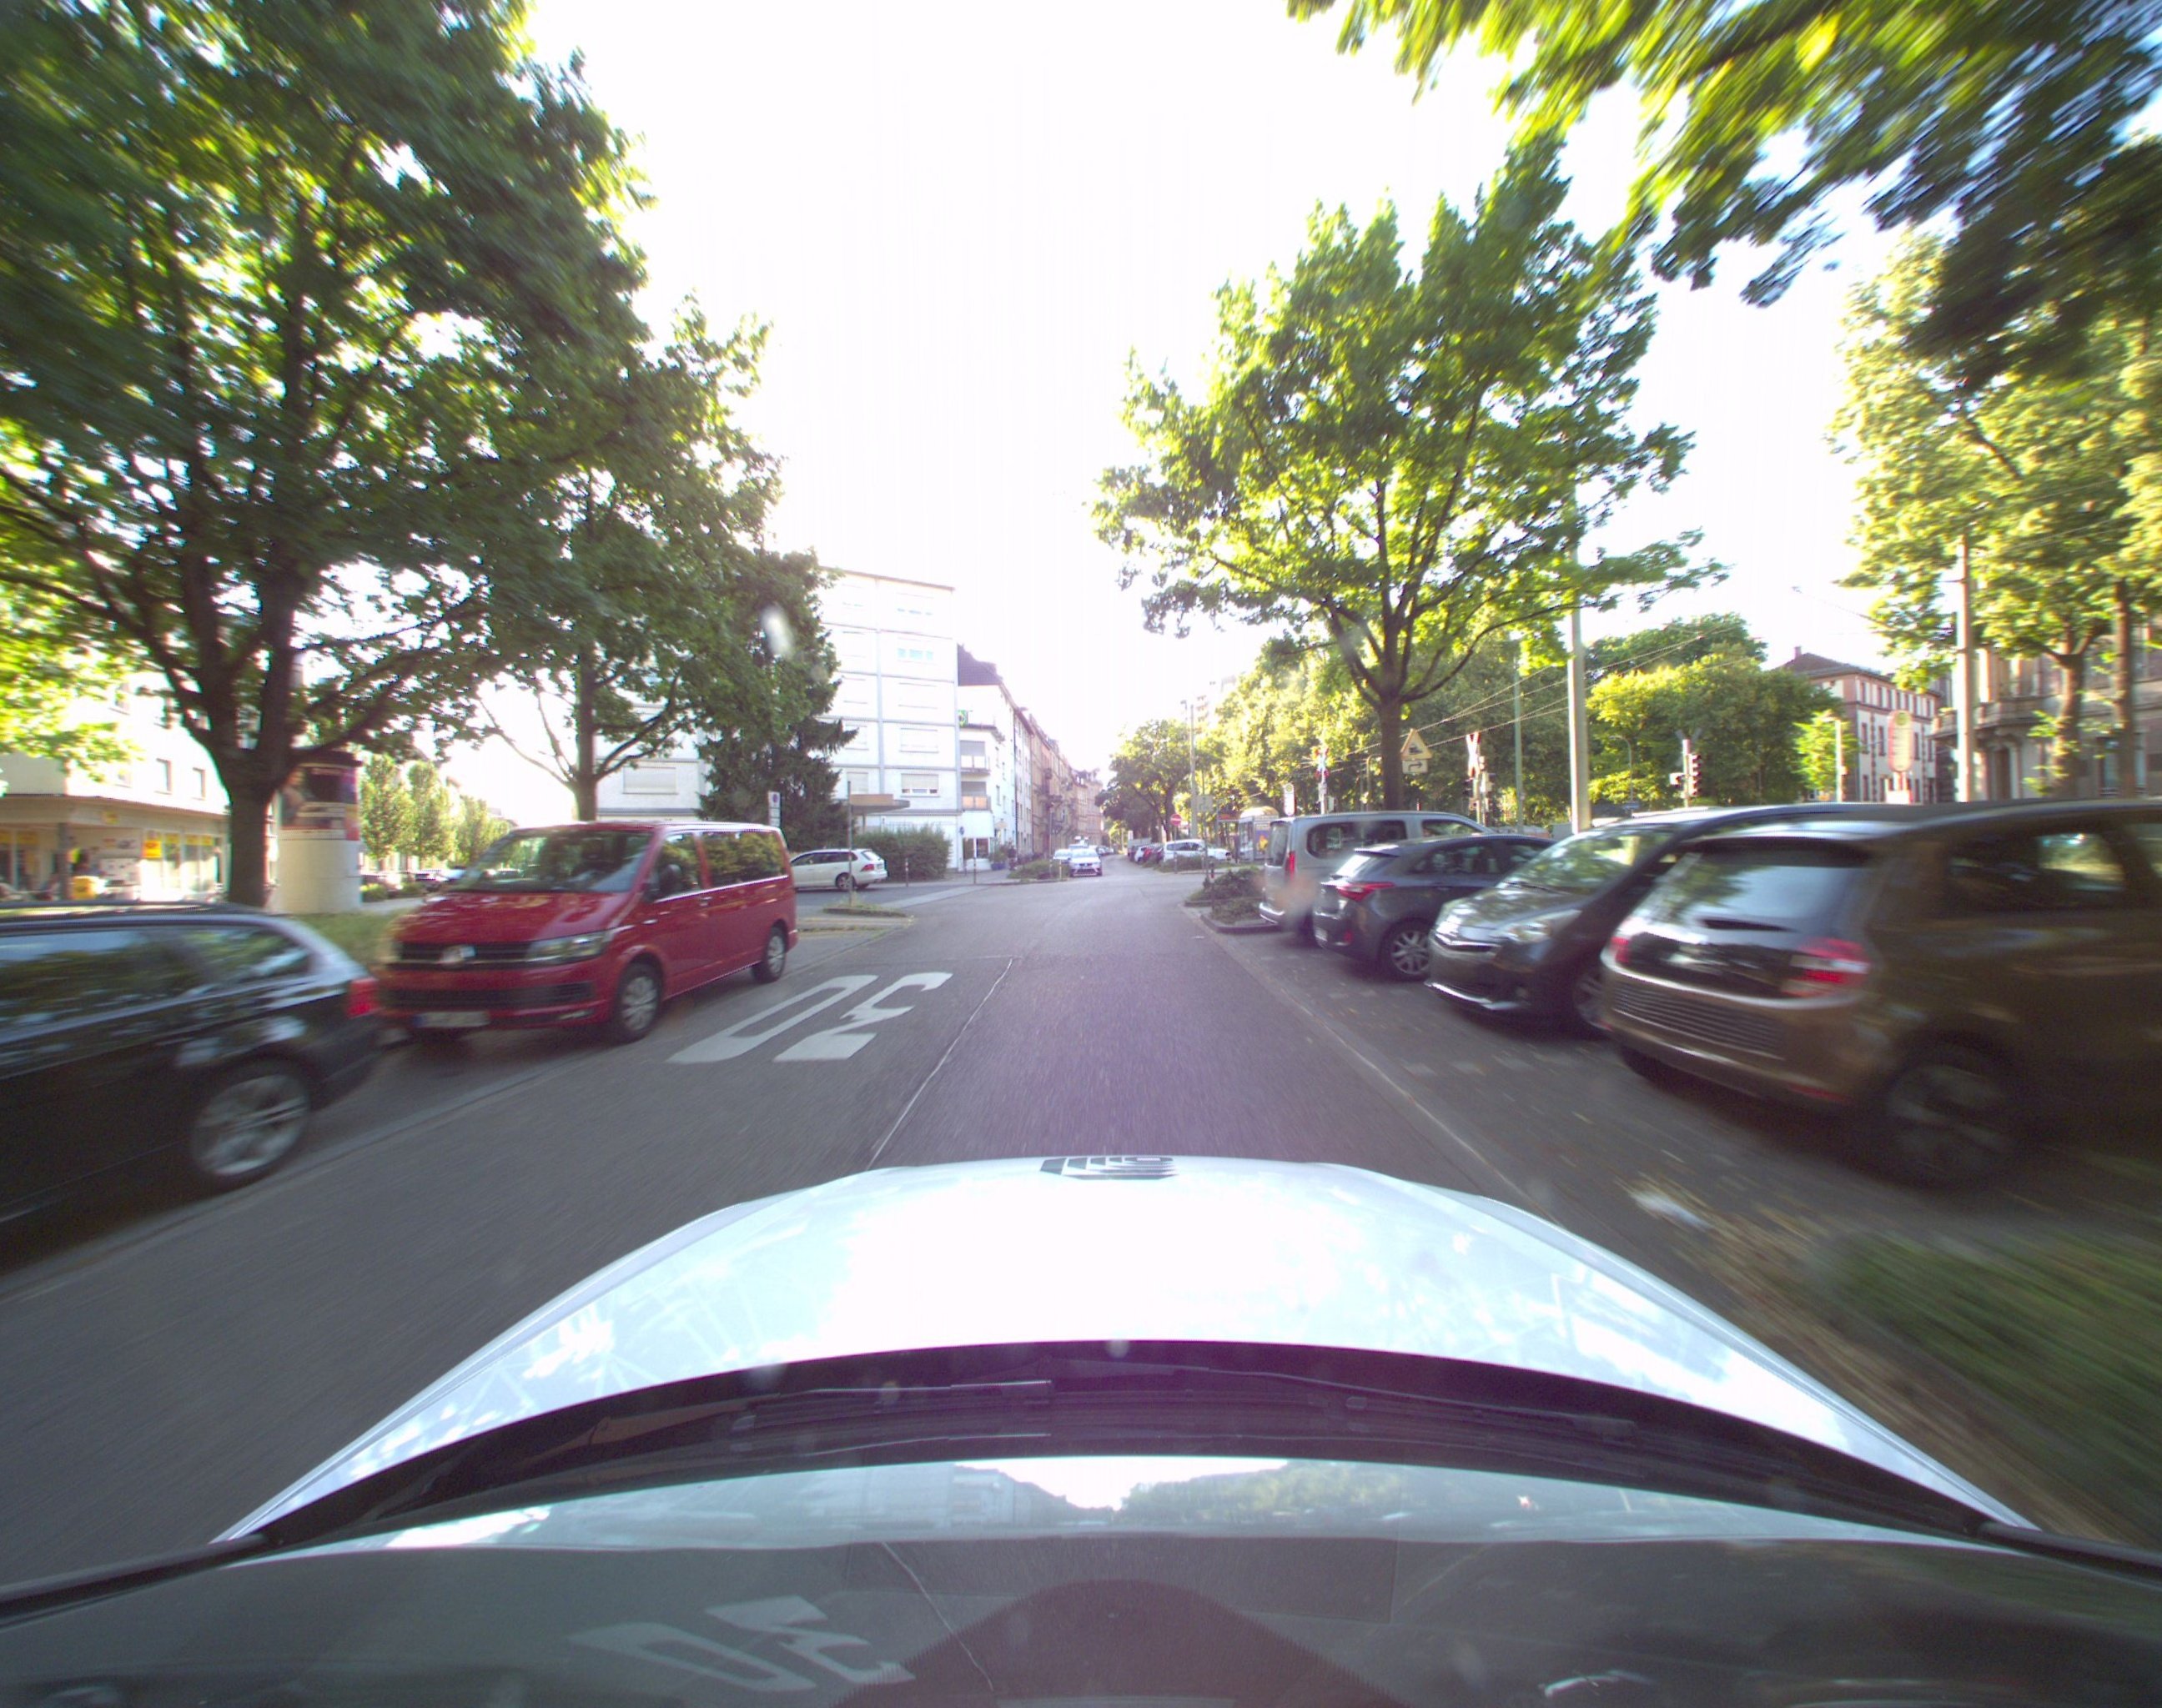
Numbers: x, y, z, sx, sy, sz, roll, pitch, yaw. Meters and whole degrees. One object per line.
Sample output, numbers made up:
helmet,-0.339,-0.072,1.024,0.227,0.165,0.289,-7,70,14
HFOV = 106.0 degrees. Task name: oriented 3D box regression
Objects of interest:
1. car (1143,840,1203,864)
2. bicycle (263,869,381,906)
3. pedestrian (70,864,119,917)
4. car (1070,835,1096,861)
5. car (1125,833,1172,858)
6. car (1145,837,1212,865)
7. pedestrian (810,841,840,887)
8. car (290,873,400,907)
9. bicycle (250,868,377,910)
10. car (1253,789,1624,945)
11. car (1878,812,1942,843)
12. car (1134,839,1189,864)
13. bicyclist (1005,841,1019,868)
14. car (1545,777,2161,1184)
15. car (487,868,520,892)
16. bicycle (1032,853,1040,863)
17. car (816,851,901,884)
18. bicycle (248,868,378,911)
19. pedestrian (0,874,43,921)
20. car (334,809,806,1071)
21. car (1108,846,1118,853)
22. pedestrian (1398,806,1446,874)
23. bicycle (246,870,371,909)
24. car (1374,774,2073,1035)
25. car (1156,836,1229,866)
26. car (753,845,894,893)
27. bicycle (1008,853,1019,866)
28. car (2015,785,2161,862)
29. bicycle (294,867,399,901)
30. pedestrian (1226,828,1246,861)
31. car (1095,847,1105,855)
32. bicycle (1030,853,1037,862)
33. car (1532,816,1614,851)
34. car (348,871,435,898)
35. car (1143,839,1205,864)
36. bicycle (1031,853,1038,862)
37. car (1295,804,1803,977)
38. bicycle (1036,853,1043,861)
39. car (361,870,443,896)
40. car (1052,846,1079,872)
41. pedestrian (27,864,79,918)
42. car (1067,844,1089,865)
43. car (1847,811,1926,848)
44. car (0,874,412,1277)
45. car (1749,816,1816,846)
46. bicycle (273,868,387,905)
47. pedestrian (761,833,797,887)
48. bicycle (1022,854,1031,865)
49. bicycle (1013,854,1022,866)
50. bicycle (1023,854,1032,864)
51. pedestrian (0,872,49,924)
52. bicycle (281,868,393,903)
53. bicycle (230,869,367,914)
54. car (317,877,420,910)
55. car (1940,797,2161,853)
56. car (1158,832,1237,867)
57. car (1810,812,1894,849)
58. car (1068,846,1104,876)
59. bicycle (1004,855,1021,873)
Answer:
car,7.118,-0.156,63.307,4.188,1.458,1.617,-6,0,26
bicycle,-30.927,1.341,33.276,3.390,1.445,0.873,0,-1,-30
pedestrian,-36.188,1.313,29.891,0.855,1.875,0.882,-2,0,-32
car,0.328,-0.711,98.272,2.540,2.887,5.489,-3,1,5
car,8.676,-1.076,104.668,5.201,2.571,2.288,-6,0,30
car,6.859,-0.240,57.303,4.188,1.507,1.617,-6,0,26
pedestrian,-9.860,0.371,31.394,0.825,1.736,0.871,-1,0,1
car,-39.244,1.877,43.562,4.012,1.558,1.729,-2,0,-29
bicycle,-29.137,1.298,31.024,3.390,1.445,0.873,-1,0,-30
car,4.951,0.191,11.858,4.518,1.914,1.952,-2,-1,4
car,44.818,-1.463,44.010,3.972,1.613,1.784,-3,3,-35
car,6.785,-0.202,68.754,4.186,1.651,1.870,-6,0,38
bicyclist,-4.216,0.049,50.042,0.709,1.617,0.724,-2,0,2
car,5.187,0.457,4.112,4.518,1.572,1.952,-2,-1,4
car,-46.485,2.048,65.604,2.008,1.784,3.958,-3,1,-33
bicycle,-4.864,0.419,87.606,0.624,1.003,2.176,-2,1,1
car,-11.849,0.692,43.401,4.011,1.532,1.981,-2,0,-29
bicycle,-28.398,1.290,30.212,3.390,1.445,0.873,-1,0,-30
pedestrian,-36.694,1.498,28.008,0.894,1.569,0.954,-2,0,-31
car,-4.573,0.611,8.396,1.770,1.933,4.774,0,1,1
car,7.497,-1.066,189.427,1.700,1.445,4.012,-3,1,10
pedestrian,10.004,-0.413,23.922,0.899,1.918,1.151,-2,0,2
bicycle,-30.004,1.354,31.722,3.390,1.445,0.873,0,-1,-30
car,5.038,0.343,6.829,4.427,1.691,1.947,-2,-1,-4
car,7.135,-0.197,52.002,4.153,1.436,1.711,-6,0,27
car,-9.009,0.517,28.714,4.262,1.450,1.926,-2,1,4
bicycle,-5.519,0.440,66.627,0.529,1.003,2.177,-2,1,3
car,24.737,-0.696,18.473,4.368,1.687,1.751,-1,1,20
bicycle,-32.845,1.305,36.513,3.390,1.445,0.873,0,-1,-30
pedestrian,9.201,-0.546,48.397,0.840,1.910,0.843,-2,0,32
car,3.735,-0.614,160.718,1.703,1.445,4.005,-3,1,5
bicycle,-5.282,0.395,90.602,0.624,1.003,2.176,-2,1,1
car,30.960,-1.262,51.432,1.942,2.003,4.649,-2,0,-6
car,-45.221,1.979,53.513,4.012,1.558,1.729,-2,0,-29
car,6.884,-0.186,60.435,4.188,1.458,1.617,-6,0,26
bicycle,-5.302,0.378,92.997,0.624,1.003,2.176,-2,1,1
car,4.906,0.382,9.143,4.518,1.572,1.952,-2,-1,4
bicycle,-4.873,0.351,96.201,0.624,1.003,2.176,-2,1,1
car,-46.773,1.994,56.214,4.012,1.558,1.729,-2,0,-29
car,-1.044,0.313,56.869,1.705,1.673,3.999,-3,1,0
pedestrian,-36.935,1.318,29.272,0.855,1.875,0.882,-2,0,-32
car,-0.282,0.003,82.877,1.703,1.932,4.005,-3,1,5
car,40.603,-1.276,41.028,4.559,1.723,1.814,-2,4,-32
car,-4.904,0.862,2.772,1.771,1.433,4.269,0,1,-1
car,41.392,-1.400,48.044,4.306,1.614,1.814,-2,4,-32
bicycle,-31.355,1.335,34.085,3.390,1.445,0.873,0,-1,-30
pedestrian,-11.712,0.226,31.590,0.979,2.013,0.863,-2,0,1
bicycle,-5.198,0.502,77.191,0.624,1.003,2.176,-2,1,1
bicycle,-5.683,0.533,73.226,0.529,1.003,2.176,-2,1,1
bicycle,-5.290,0.481,80.732,0.624,1.003,2.176,-2,1,1
pedestrian,-35.594,1.451,27.217,0.967,1.666,1.203,-2,0,-32
bicycle,-31.814,1.328,34.911,3.390,1.445,0.873,0,-1,-30
bicycle,-27.785,1.301,29.029,3.390,1.445,0.873,-1,0,-30
car,-39.737,2.173,45.526,4.012,1.558,1.729,-2,0,-29
car,31.135,-0.869,26.295,1.866,1.649,4.489,0,0,-6
car,6.876,-0.267,48.319,4.186,1.652,1.618,-6,0,33
car,36.184,-1.141,38.207,4.202,1.656,1.903,-2,3,-33
car,0.237,0.324,43.991,1.706,1.445,3.996,-3,1,-3
bicycle,-4.191,0.593,50.071,0.709,1.051,2.349,-2,0,2
